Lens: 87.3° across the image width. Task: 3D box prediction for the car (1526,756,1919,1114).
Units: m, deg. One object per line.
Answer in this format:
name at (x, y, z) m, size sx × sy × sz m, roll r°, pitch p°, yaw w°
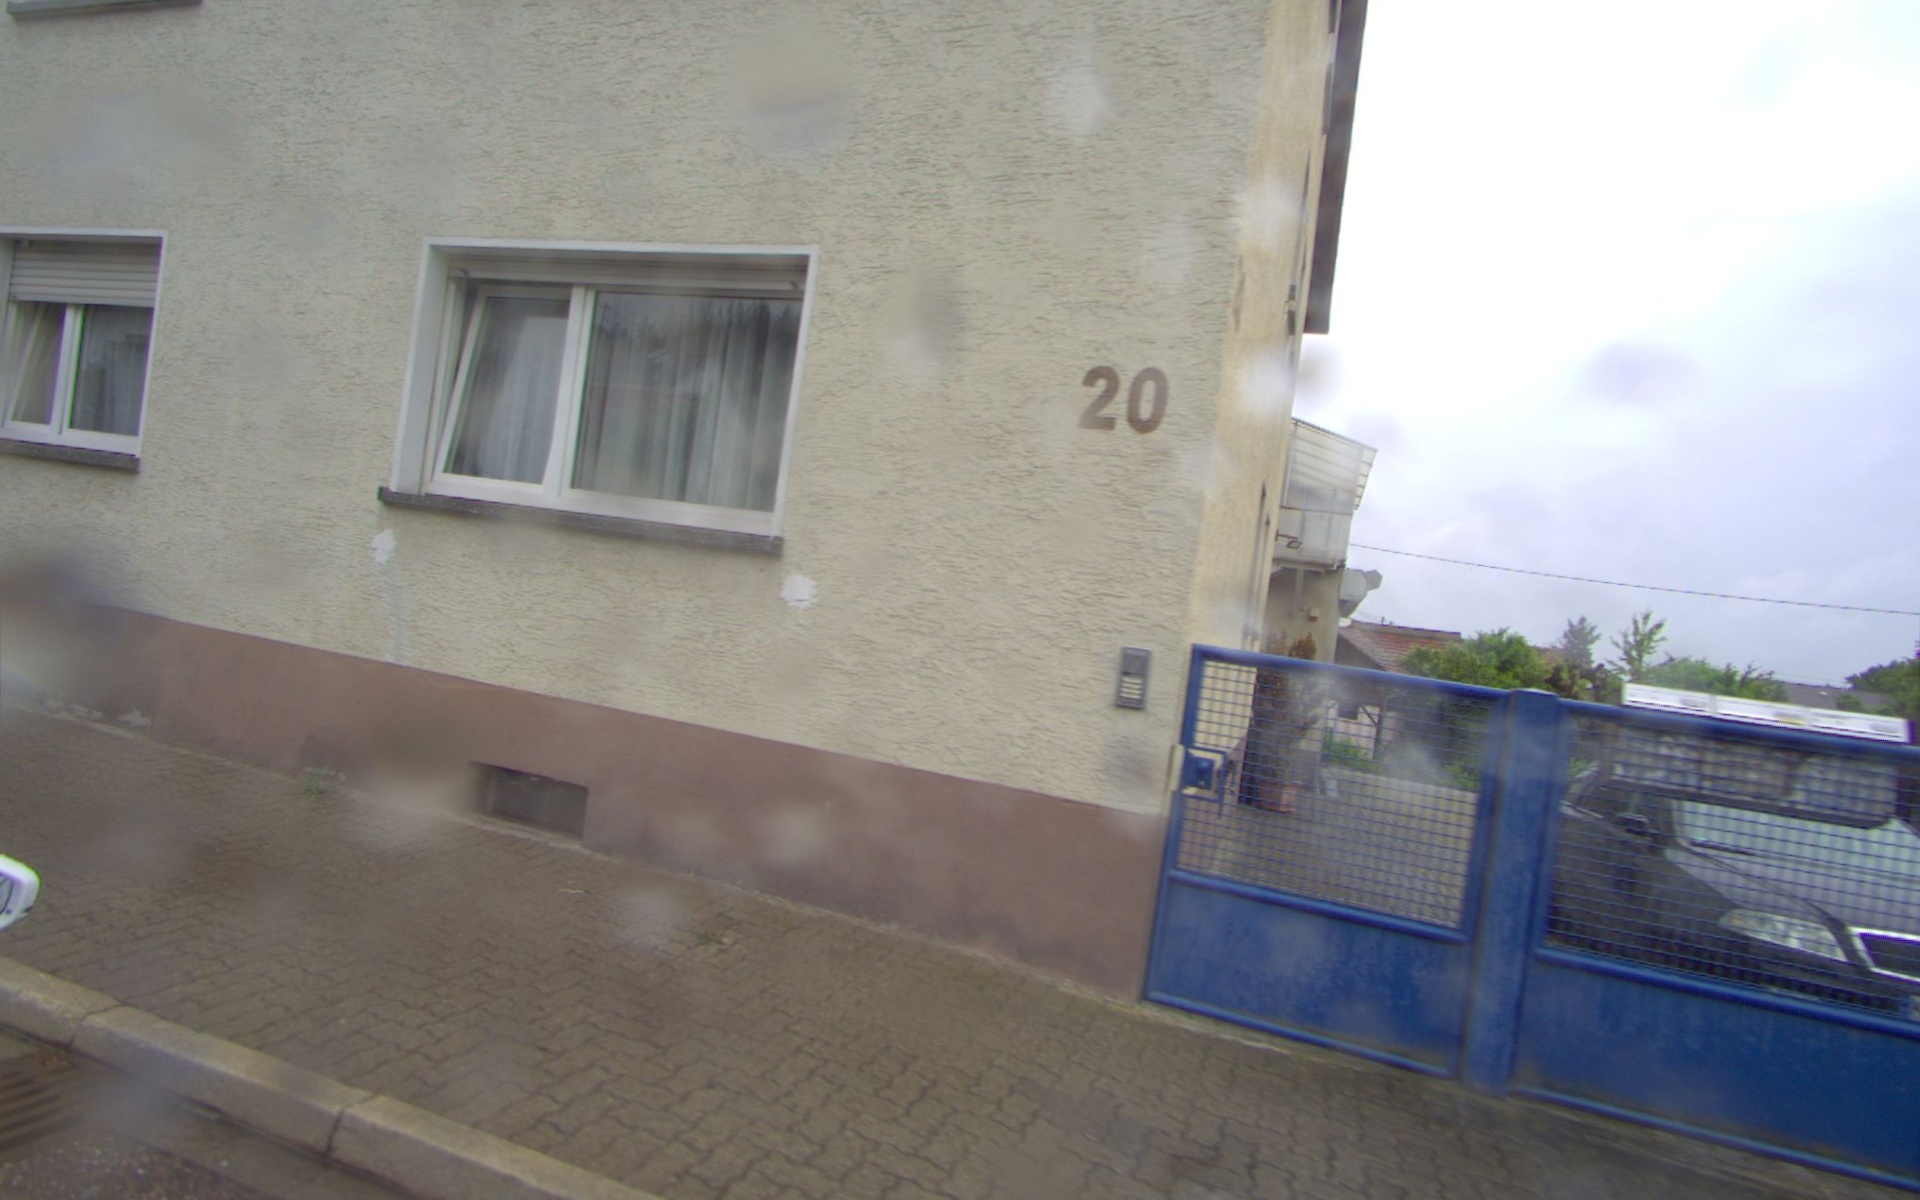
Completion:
car at (5.047, 1.805, 6.132) m, size 1.876 × 1.315 × 4.167 m, roll 7°, pitch -5°, yaw 19°
